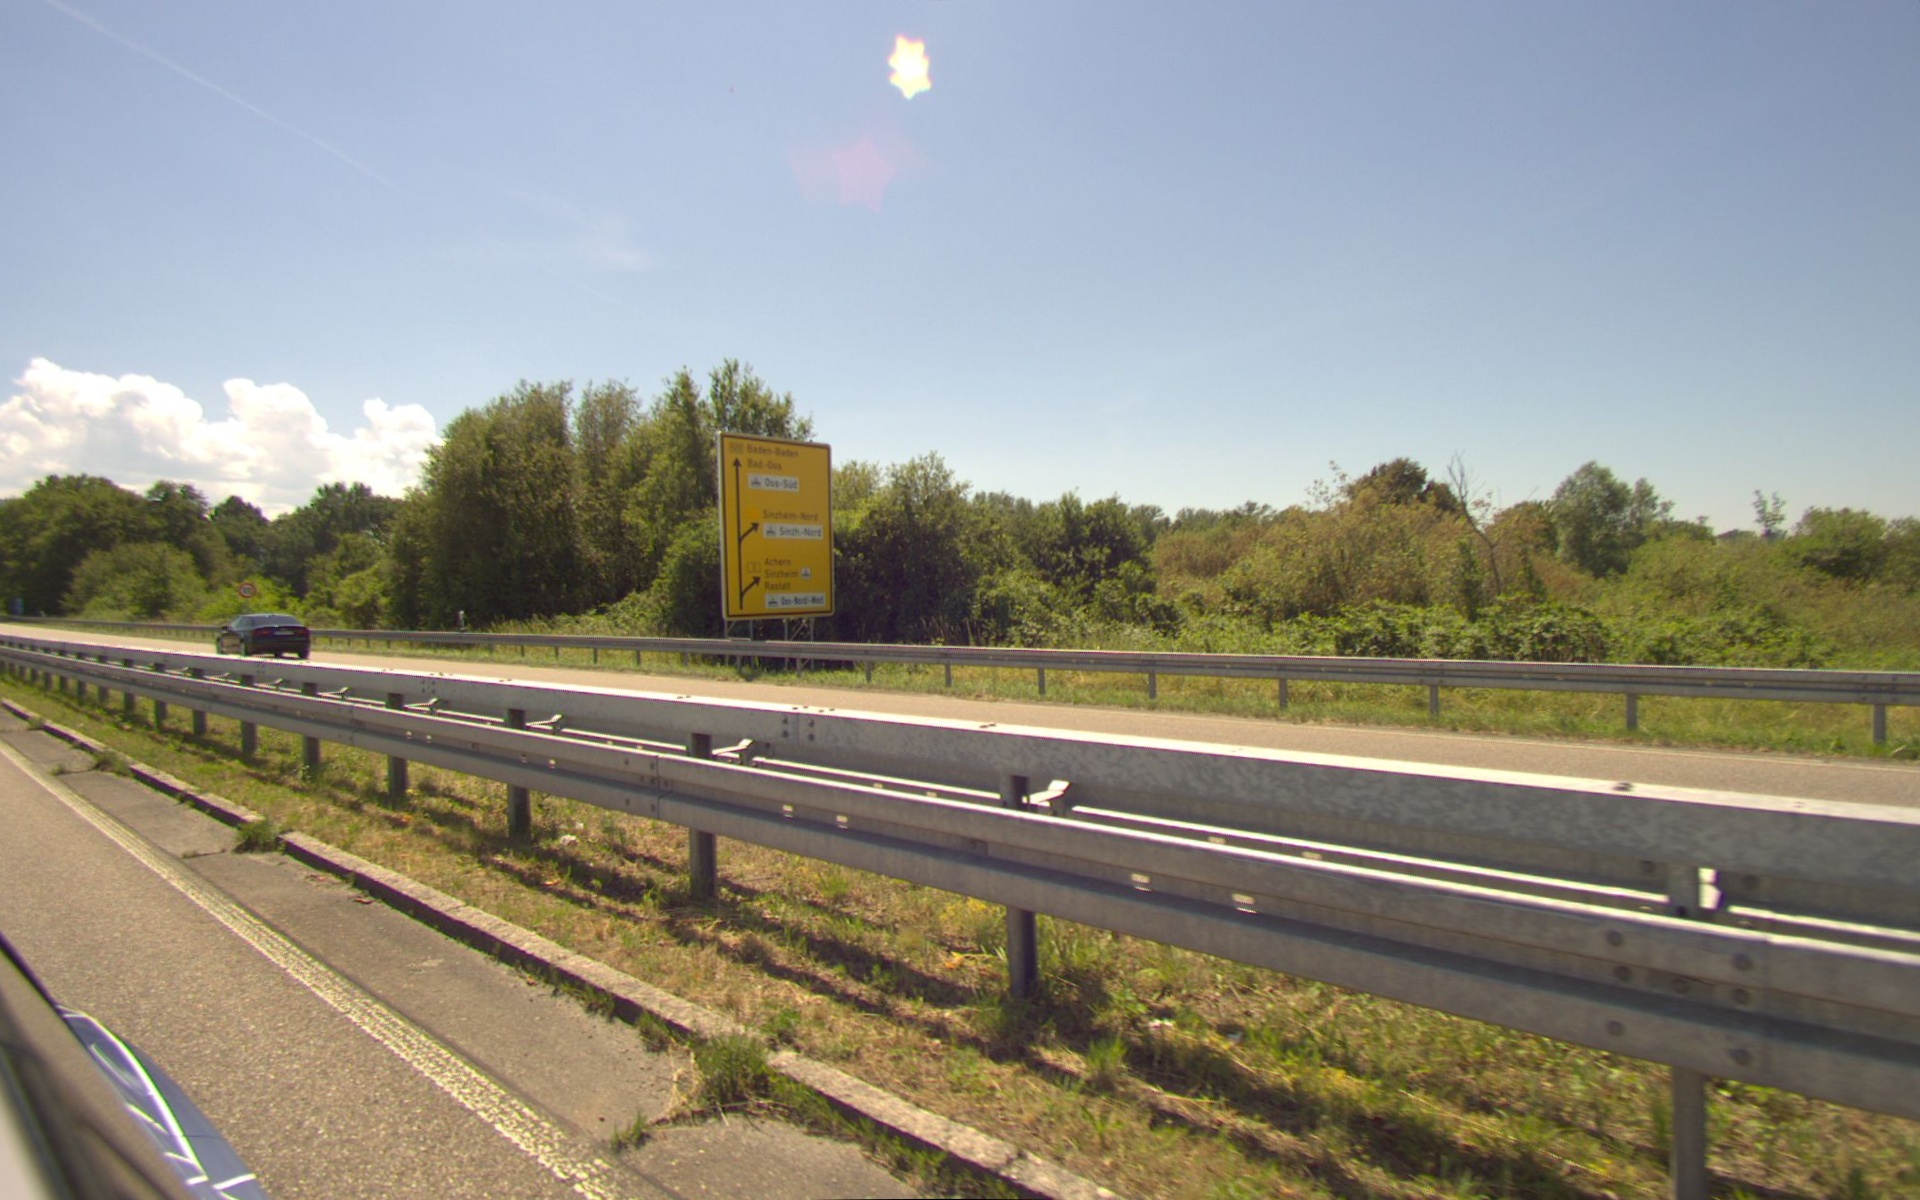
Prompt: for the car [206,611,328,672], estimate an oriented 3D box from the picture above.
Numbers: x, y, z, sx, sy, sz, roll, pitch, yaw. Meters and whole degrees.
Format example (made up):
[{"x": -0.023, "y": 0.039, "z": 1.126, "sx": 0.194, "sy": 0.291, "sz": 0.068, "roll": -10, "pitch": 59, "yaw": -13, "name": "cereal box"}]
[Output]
[{"x": -21.742, "y": 1.280, "z": 31.675, "sx": 4.872, "sy": 1.649, "sz": 1.973, "roll": -2, "pitch": 2, "yaw": 42, "name": "car"}]
